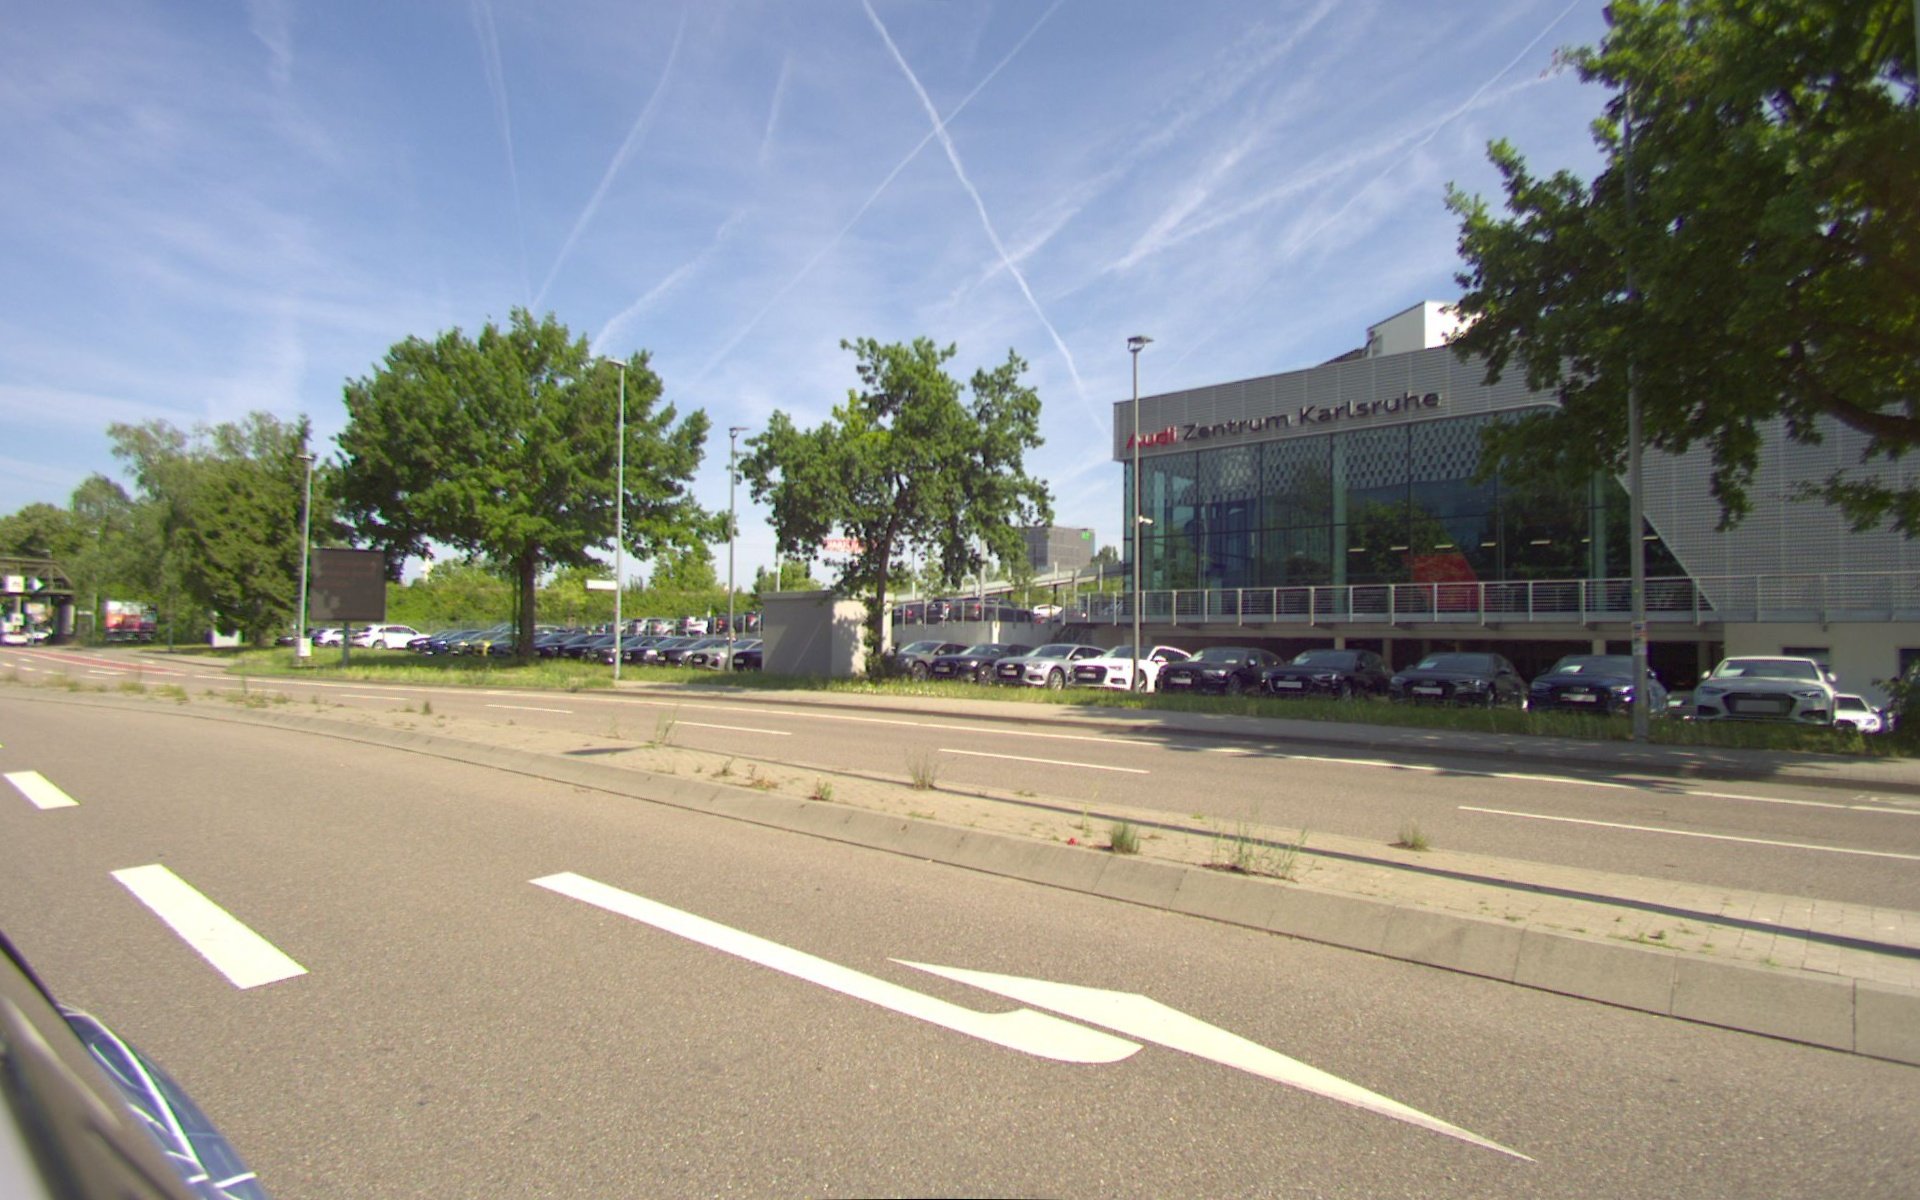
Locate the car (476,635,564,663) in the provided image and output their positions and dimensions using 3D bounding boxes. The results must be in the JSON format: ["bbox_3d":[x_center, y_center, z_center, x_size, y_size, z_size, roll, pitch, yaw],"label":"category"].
[{"bbox_3d":[-21.838,2.458,50.321,1.863,1.295,3.557,-2,-5,40],"label":"car"}]

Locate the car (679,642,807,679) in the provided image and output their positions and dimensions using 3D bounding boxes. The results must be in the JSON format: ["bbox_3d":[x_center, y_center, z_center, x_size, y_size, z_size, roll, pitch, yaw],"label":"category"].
[{"bbox_3d":[-8.099,2.239,38.071,2.002,1.300,4.454,-1,-3,39],"label":"car"}]

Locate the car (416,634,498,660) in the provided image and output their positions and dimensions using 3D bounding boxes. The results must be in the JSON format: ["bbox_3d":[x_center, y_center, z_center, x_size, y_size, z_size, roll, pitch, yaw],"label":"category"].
[{"bbox_3d":[-27.362,2.595,55.115,1.743,1.295,3.557,-2,-5,39],"label":"car"}]

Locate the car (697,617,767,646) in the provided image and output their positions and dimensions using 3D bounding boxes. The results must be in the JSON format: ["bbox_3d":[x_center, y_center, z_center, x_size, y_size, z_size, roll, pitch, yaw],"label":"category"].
[{"bbox_3d":[-14.552,2.035,64.731,1.663,1.718,4.225,-2,-3,39],"label":"car"}]

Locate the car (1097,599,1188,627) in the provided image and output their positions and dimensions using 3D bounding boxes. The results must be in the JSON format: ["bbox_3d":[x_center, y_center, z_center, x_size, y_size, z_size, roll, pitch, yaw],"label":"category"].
[{"bbox_3d":[10.178,0.728,56.573,4.590,1.475,1.928,0,-1,-9],"label":"car"}]

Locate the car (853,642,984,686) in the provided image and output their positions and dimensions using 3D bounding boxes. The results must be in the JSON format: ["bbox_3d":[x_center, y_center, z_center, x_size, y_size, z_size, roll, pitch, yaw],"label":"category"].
[{"bbox_3d":[-1.225,1.993,31.257,1.895,1.165,3.947,-2,-7,39],"label":"car"}]

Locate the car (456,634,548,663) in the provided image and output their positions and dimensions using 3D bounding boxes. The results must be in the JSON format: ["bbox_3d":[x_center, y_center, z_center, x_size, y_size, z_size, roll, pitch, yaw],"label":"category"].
[{"bbox_3d":[-23.489,2.523,52.016,1.838,1.351,3.848,-2,-5,39],"label":"car"}]

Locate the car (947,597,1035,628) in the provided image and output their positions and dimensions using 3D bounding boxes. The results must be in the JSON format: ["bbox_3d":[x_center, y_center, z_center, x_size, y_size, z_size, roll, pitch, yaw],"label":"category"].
[{"bbox_3d":[1.592,0.639,50.519,1.985,1.507,4.472,-2,-2,41],"label":"car"}]

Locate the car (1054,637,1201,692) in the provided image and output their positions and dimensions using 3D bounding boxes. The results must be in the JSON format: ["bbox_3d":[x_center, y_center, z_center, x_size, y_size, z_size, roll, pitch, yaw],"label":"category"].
[{"bbox_3d":[4.415,1.699,26.234,1.953,1.199,4.132,-2,-7,39],"label":"car"}]

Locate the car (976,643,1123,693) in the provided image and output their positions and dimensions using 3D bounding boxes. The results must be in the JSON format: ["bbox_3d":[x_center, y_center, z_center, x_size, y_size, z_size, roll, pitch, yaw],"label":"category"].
[{"bbox_3d":[2.541,1.892,27.993,2.085,1.165,4.132,-2,-7,39],"label":"car"}]

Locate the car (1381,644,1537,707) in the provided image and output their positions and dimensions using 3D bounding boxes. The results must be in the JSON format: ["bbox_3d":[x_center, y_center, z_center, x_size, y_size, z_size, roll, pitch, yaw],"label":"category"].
[{"bbox_3d":[10.196,1.560,20.525,1.953,1.086,4.132,-2,-7,39],"label":"car"}]

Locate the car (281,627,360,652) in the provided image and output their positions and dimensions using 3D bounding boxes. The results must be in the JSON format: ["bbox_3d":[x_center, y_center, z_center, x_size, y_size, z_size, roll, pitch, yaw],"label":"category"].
[{"bbox_3d":[-43.512,2.667,68.907,1.999,1.558,4.169,-2,-2,41],"label":"car"}]

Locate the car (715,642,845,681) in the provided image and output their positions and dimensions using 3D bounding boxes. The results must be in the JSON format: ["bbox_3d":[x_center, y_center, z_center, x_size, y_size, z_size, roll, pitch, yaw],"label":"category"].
[{"bbox_3d":[-6.410,2.171,36.439,1.918,1.300,4.454,-1,-3,39],"label":"car"}]

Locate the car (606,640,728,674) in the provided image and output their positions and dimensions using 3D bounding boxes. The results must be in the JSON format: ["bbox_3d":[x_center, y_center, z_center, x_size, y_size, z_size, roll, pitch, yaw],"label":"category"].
[{"bbox_3d":[-11.894,2.316,41.303,1.918,1.300,4.454,-1,-3,39],"label":"car"}]

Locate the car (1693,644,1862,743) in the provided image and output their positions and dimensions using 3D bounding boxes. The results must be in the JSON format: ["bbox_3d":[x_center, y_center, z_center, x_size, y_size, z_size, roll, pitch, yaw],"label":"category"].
[{"bbox_3d":[13.915,1.605,17.155,2.000,1.453,3.944,-2,-7,42],"label":"car"}]

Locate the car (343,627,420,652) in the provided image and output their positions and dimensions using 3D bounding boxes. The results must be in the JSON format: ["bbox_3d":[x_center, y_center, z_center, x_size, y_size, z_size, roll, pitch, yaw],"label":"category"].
[{"bbox_3d":[-36.964,2.504,64.670,1.848,1.497,3.941,-2,-2,45],"label":"car"}]

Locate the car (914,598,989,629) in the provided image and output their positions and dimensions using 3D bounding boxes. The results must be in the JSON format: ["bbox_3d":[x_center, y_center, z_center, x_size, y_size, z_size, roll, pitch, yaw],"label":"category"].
[{"bbox_3d":[-0.411,0.701,52.426,1.667,1.507,3.945,-2,-2,41],"label":"car"}]

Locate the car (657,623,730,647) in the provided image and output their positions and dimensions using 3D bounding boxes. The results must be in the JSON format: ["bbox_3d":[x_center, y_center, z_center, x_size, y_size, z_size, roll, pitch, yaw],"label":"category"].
[{"bbox_3d":[-17.854,2.375,68.006,1.978,1.496,4.454,-1,-3,39],"label":"car"}]

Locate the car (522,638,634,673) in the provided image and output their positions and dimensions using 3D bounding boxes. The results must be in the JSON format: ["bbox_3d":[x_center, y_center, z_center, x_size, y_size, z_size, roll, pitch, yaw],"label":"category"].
[{"bbox_3d":[-17.623,2.552,46.857,1.978,1.487,4.454,-1,-3,39],"label":"car"}]

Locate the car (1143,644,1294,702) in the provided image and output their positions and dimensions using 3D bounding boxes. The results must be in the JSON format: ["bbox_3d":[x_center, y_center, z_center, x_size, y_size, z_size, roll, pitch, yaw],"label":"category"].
[{"bbox_3d":[6.307,1.781,24.386,1.953,1.199,4.132,-2,-7,39],"label":"car"}]

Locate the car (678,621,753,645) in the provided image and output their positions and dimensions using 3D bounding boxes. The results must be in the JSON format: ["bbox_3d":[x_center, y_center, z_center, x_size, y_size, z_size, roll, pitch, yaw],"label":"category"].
[{"bbox_3d":[-16.037,2.185,66.541,1.978,1.496,4.454,-1,-3,39],"label":"car"}]

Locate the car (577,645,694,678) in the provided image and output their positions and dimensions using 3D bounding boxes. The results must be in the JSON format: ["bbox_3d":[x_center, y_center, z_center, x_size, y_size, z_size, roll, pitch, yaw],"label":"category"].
[{"bbox_3d":[-13.824,2.596,43.318,1.918,1.300,4.454,-1,-3,39],"label":"car"}]

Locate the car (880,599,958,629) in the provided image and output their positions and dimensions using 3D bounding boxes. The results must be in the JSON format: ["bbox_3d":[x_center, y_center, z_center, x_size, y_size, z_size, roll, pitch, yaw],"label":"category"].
[{"bbox_3d":[-2.172,0.765,54.455,2.051,1.507,3.945,-2,-2,41],"label":"car"}]

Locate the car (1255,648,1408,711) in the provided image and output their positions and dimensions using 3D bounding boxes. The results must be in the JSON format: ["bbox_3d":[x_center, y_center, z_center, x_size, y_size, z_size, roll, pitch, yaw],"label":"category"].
[{"bbox_3d":[8.334,1.792,22.506,1.953,1.199,4.132,-2,-7,39],"label":"car"}]

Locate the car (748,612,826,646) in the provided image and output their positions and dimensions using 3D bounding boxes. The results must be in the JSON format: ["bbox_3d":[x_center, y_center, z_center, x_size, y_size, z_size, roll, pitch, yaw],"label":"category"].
[{"bbox_3d":[-10.391,1.767,61.103,1.978,1.977,4.454,-2,-3,39],"label":"car"}]

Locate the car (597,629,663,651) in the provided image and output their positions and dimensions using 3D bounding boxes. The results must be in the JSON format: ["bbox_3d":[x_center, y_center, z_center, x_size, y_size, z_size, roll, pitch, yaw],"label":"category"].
[{"bbox_3d":[-23.855,2.863,73.206,1.997,1.488,4.161,-2,-2,38],"label":"car"}]

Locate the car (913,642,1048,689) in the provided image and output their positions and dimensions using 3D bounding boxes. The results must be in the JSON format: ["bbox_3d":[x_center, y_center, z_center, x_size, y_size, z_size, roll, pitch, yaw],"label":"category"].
[{"bbox_3d":[0.664,1.936,29.497,1.895,1.165,3.947,-2,-7,39],"label":"car"}]

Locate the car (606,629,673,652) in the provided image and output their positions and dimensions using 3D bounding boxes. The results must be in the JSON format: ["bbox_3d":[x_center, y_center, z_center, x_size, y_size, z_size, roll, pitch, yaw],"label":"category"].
[{"bbox_3d":[-22.489,2.818,71.148,1.997,1.488,4.161,-2,-2,38],"label":"car"}]

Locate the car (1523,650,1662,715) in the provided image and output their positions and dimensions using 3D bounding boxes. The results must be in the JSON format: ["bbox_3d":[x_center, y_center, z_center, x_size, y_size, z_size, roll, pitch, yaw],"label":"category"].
[{"bbox_3d":[11.919,1.573,18.964,1.695,1.042,4.066,-2,-6,39],"label":"car"}]

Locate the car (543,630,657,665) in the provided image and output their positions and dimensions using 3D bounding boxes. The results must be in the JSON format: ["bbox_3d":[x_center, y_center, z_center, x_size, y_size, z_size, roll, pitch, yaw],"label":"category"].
[{"bbox_3d":[-16.089,2.114,45.369,1.918,1.487,4.454,-1,-3,39],"label":"car"}]

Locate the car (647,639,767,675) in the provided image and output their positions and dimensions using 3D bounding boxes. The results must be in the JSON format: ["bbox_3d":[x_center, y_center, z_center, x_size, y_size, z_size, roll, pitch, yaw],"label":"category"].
[{"bbox_3d":[-9.844,2.214,39.676,1.690,1.300,4.454,-1,-3,39],"label":"car"}]

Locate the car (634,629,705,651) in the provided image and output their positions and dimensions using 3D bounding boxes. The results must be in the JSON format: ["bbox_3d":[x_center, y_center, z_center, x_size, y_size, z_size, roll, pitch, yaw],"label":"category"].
[{"bbox_3d":[-19.925,2.729,69.627,1.889,1.429,4.454,-2,-2,39],"label":"car"}]

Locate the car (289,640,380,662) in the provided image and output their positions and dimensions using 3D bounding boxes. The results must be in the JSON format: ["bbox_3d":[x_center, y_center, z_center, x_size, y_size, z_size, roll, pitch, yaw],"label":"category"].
[{"bbox_3d":[-41.633,3.369,67.428,1.999,1.278,4.800,-2,-2,41],"label":"car"}]

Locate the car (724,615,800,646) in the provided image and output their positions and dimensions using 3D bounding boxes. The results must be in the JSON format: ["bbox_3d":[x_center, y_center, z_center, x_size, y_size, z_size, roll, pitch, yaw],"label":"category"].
[{"bbox_3d":[-12.306,1.910,63.085,1.978,1.829,4.454,-2,-3,39],"label":"car"}]

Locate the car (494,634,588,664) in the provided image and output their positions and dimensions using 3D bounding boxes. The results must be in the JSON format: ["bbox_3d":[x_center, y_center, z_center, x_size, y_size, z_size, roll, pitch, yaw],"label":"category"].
[{"bbox_3d":[-20.029,2.370,48.478,1.984,1.295,3.642,-2,-5,40],"label":"car"}]

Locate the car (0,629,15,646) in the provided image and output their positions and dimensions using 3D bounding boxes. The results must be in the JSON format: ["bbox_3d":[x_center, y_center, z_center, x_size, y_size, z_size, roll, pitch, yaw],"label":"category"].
[{"bbox_3d":[-93.796,3.632,98.921,1.970,1.630,4.107,5,-5,-44],"label":"car"}]

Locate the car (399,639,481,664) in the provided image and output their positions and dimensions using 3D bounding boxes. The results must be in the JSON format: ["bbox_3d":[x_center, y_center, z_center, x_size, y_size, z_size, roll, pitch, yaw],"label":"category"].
[{"bbox_3d":[-29.311,2.884,57.132,1.743,1.295,3.753,-2,-2,39],"label":"car"}]

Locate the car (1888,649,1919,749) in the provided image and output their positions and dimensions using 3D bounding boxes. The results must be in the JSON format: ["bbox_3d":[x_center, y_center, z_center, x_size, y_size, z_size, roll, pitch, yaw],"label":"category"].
[{"bbox_3d":[15.947,1.630,15.854,2.000,1.453,4.203,-2,-7,42],"label":"car"}]

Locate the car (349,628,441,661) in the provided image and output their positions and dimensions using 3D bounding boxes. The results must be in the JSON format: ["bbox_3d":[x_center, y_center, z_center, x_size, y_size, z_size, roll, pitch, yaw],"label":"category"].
[{"bbox_3d":[-33.664,2.618,60.416,2.000,1.889,4.415,-2,-2,42],"label":"car"}]

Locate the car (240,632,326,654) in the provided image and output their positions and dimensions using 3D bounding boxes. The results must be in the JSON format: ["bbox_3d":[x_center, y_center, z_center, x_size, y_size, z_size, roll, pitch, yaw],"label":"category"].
[{"bbox_3d":[-46.656,2.916,69.810,1.999,1.400,4.637,-2,-2,41],"label":"car"}]

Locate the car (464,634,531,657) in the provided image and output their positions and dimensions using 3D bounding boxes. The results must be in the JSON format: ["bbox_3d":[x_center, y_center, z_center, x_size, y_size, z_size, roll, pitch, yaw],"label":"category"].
[{"bbox_3d":[-34.177,3.349,74.870,1.804,1.576,4.199,-2,-2,40],"label":"car"}]

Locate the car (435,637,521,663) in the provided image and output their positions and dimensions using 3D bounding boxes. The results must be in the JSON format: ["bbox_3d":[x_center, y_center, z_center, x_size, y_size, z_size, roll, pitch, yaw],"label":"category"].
[{"bbox_3d":[-25.474,2.658,53.585,1.662,1.295,3.704,-2,-5,39],"label":"car"}]

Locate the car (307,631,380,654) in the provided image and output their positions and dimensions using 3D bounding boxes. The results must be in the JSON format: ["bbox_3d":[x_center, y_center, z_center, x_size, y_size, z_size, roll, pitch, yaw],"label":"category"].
[{"bbox_3d":[-39.825,2.730,65.395,1.816,1.381,3.641,-2,-2,41],"label":"car"}]
